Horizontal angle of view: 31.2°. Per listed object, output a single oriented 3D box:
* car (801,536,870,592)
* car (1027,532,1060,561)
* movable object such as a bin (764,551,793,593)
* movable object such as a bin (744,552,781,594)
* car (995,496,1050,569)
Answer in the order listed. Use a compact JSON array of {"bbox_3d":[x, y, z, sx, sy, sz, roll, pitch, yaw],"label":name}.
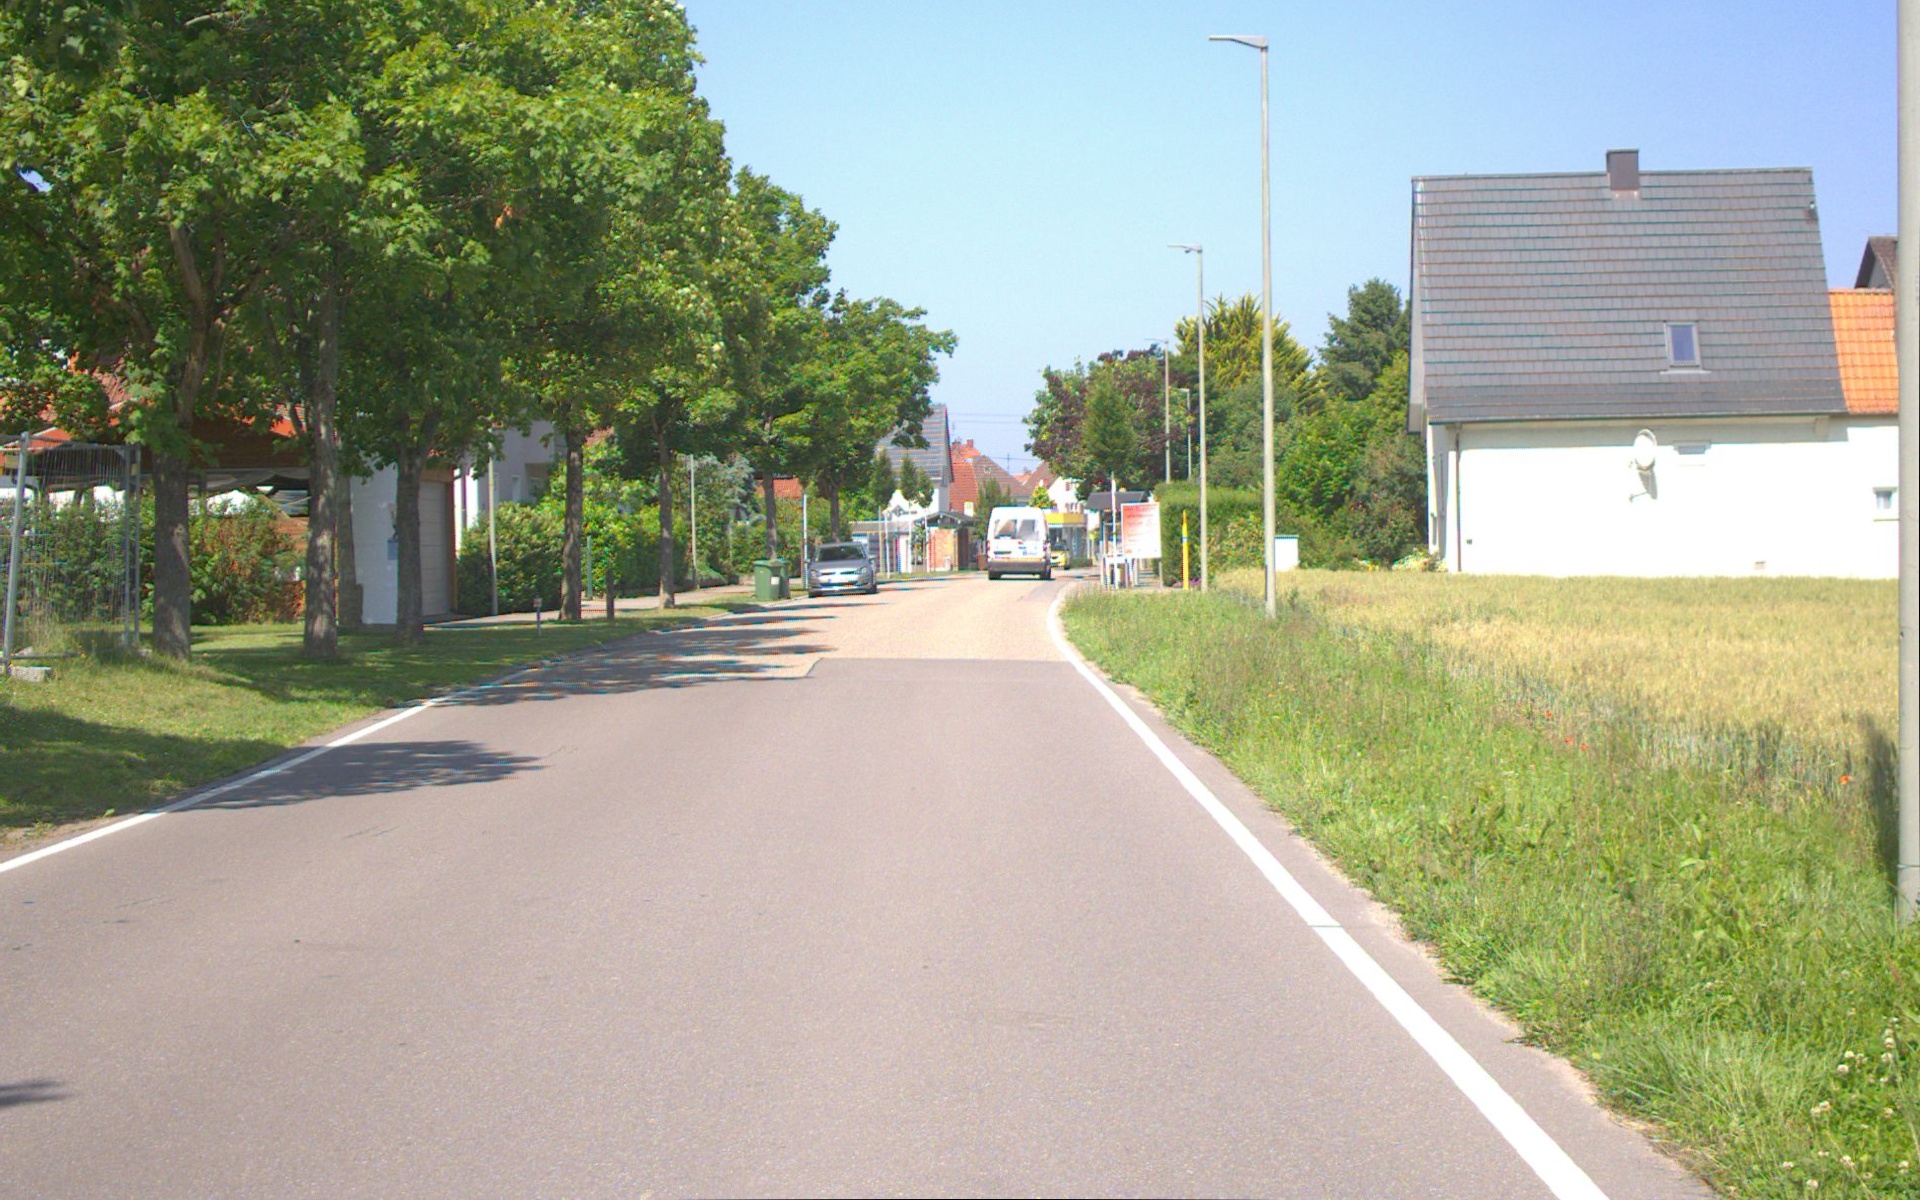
[{"bbox_3d":[-3.376,-0.996,93.924,1.647,1.419,4.080,-3,1,0],"label":"car"},{"bbox_3d":[4.599,-2.968,189.765,1.666,1.519,3.443,-2,1,-1],"label":"car"},{"bbox_3d":[-4.716,-0.735,89.199,0.575,1.075,0.598,-1,1,15],"label":"movable object such as a bin"},{"bbox_3d":[-5.081,-0.691,88.496,0.714,1.075,0.639,-1,1,27],"label":"movable object such as a bin"},{"bbox_3d":[2.159,-2.305,117.493,1.738,2.424,4.374,-1,1,2],"label":"car"}]
